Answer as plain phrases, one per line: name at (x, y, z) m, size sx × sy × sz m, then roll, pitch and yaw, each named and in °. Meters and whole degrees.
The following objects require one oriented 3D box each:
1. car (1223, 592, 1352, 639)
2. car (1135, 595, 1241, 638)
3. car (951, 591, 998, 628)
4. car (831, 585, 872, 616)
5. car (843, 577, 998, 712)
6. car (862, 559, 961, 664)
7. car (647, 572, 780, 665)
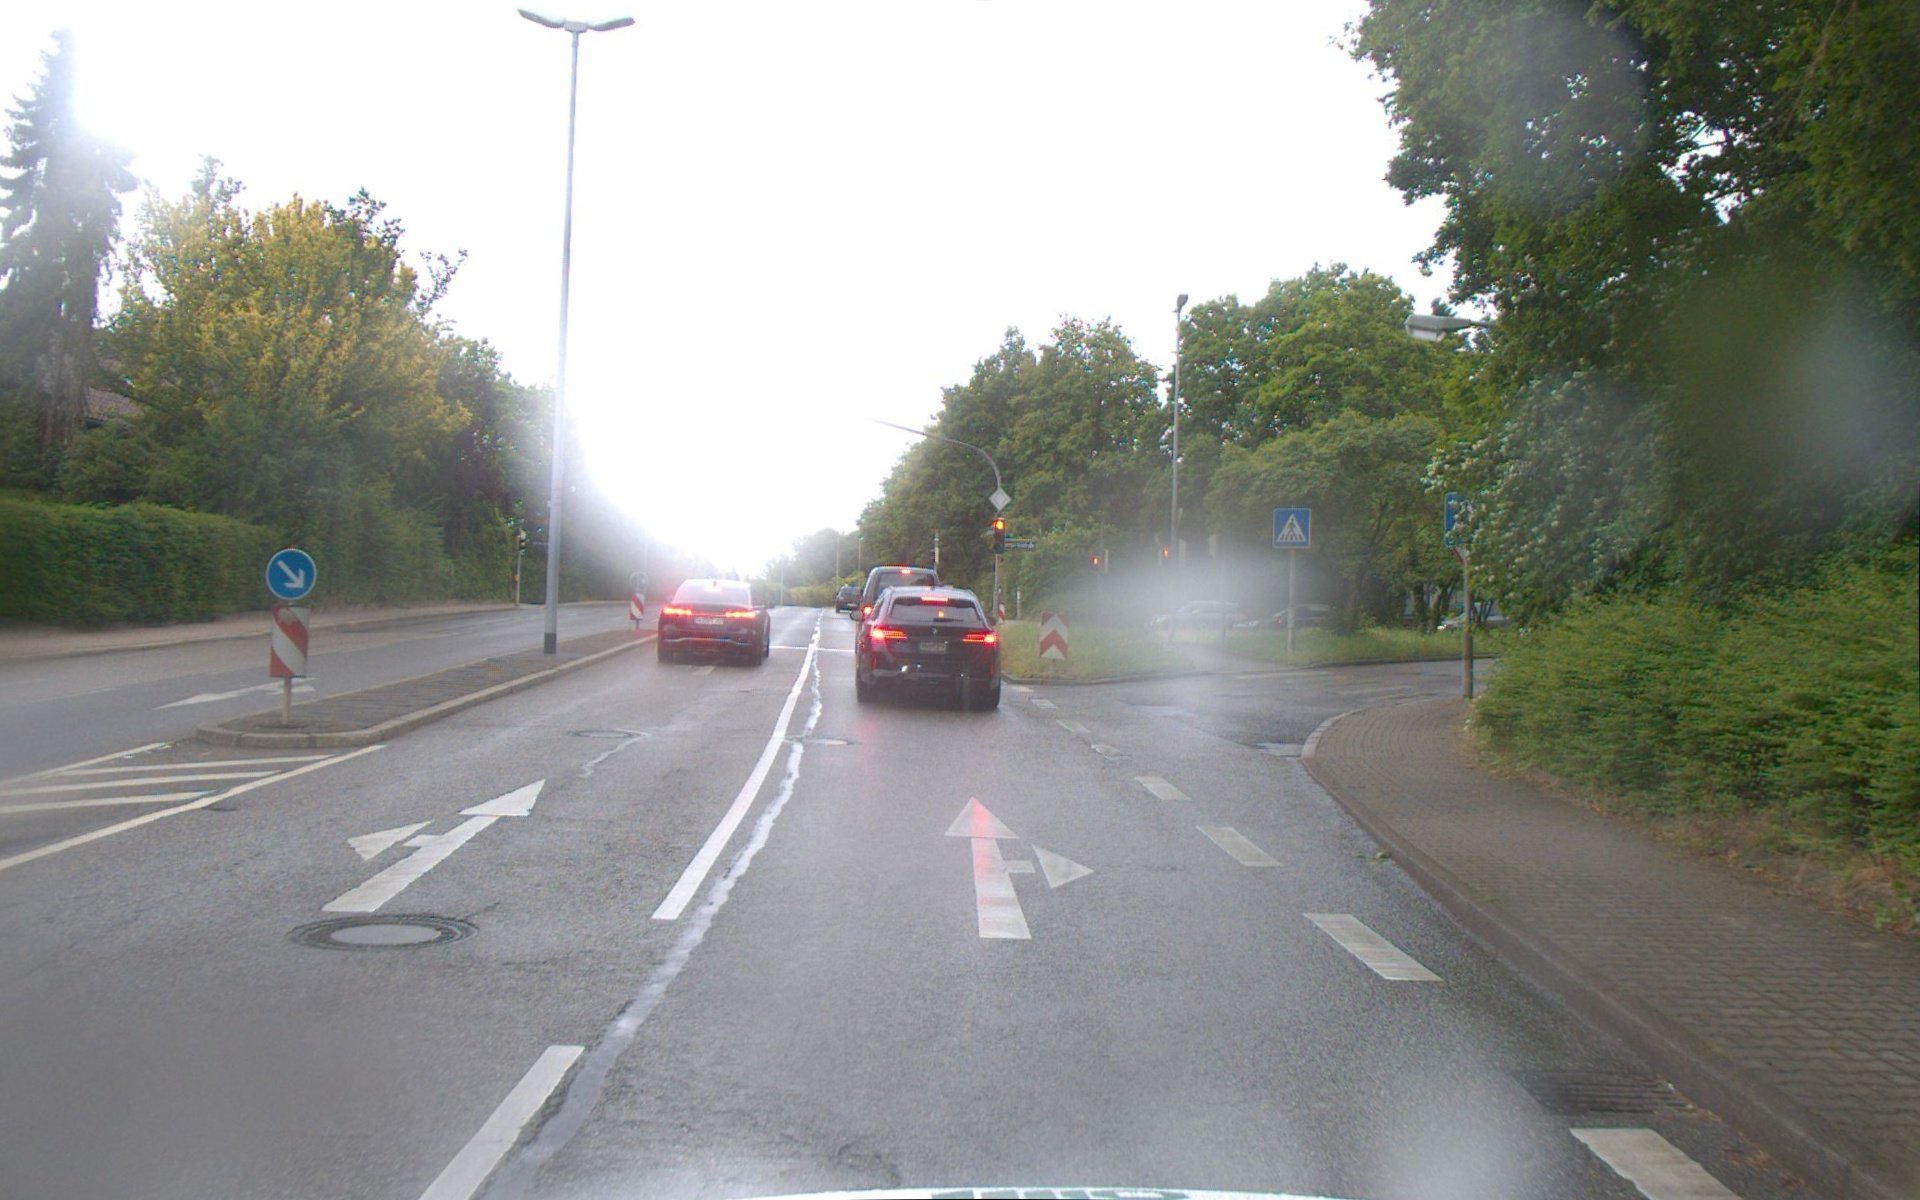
car at (11.189, 0.528, 56.559) m, size 3.914 × 1.535 × 1.897 m, roll 1°, pitch 0°, yaw -10°
car at (8.214, 0.596, 59.744) m, size 3.438 × 1.452 × 1.699 m, roll -1°, pitch -2°, yaw -10°
car at (0.598, 0.420, 72.383) m, size 1.836 × 1.570 × 3.950 m, roll 0°, pitch 0°, yaw -3°
car at (-6.057, 0.025, 91.927) m, size 1.956 × 1.652 × 3.945 m, roll 0°, pitch 0°, yaw -8°
car at (-0.487, 0.574, 22.869) m, size 1.859 × 1.578 × 4.614 m, roll 3°, pitch -1°, yaw 0°
car at (-1.008, 0.213, 33.167) m, size 1.782 × 1.901 × 3.950 m, roll 3°, pitch 0°, yaw -3°
car at (-4.372, 0.314, 29.918) m, size 1.954 × 1.554 × 4.325 m, roll 0°, pitch 0°, yaw -3°
